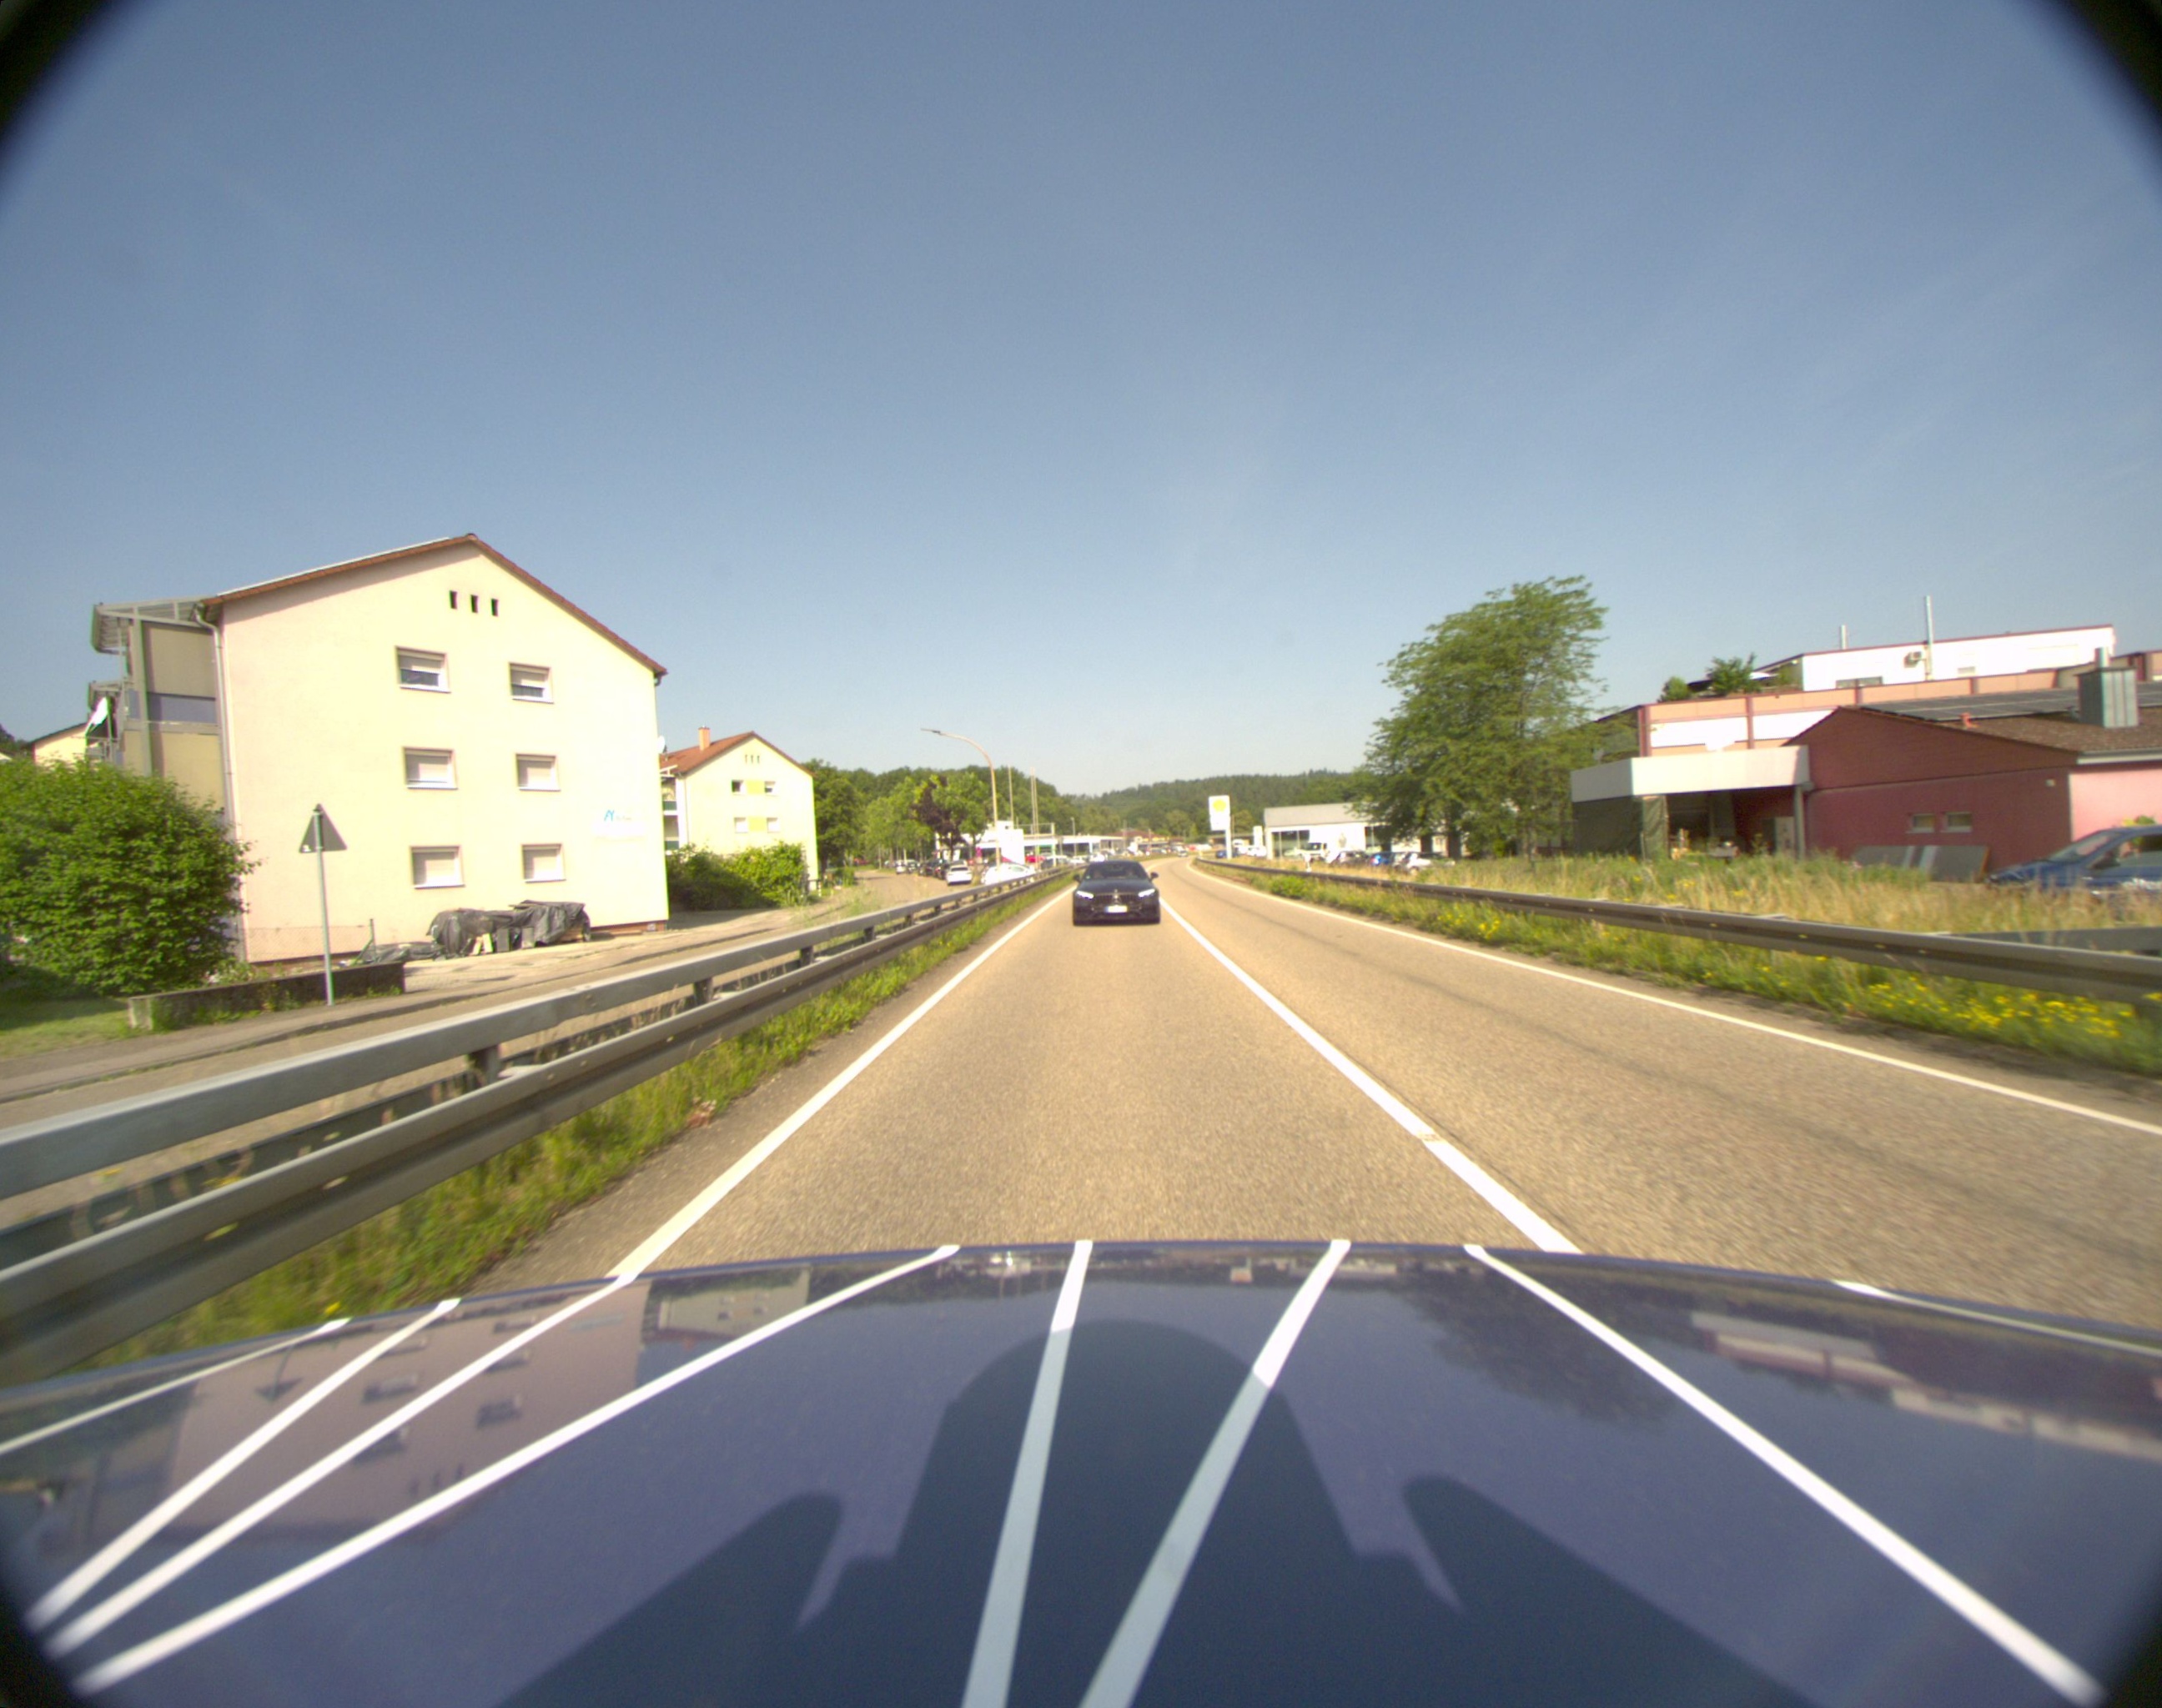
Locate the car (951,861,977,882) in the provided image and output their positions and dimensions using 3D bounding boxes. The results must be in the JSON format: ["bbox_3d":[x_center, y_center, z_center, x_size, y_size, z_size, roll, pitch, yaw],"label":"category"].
[{"bbox_3d":[-8.694,1.290,56.370,1.789,1.411,4.435,-2,0,-9],"label":"car"}]

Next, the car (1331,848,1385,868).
[{"bbox_3d":[23.217,0.311,63.787,3.756,1.491,1.932,-3,1,3],"label":"car"}]

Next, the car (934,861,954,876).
[{"bbox_3d":[-13.671,1.417,75.739,1.657,1.359,3.657,-2,1,-14],"label":"car"}]

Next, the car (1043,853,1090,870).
[{"bbox_3d":[-1.508,0.756,78.077,4.324,1.630,2.142,-2,1,18],"label":"car"}]

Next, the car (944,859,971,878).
[{"bbox_3d":[-10.125,1.166,62.216,1.710,1.397,4.478,-2,1,-14],"label":"car"}]

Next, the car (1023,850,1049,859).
[{"bbox_3d":[-8.682,0.058,146.727,4.742,1.556,1.933,-1,2,16],"label":"car"}]

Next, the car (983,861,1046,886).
[{"bbox_3d":[-4.485,1.290,51.180,4.071,1.444,1.727,-2,1,-10],"label":"car"}]

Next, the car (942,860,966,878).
[{"bbox_3d":[-11.273,1.309,67.127,1.710,1.397,3.657,-2,1,-14],"label":"car"}]

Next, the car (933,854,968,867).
[{"bbox_3d":[-17.931,0.888,104.290,4.499,1.591,1.839,-2,1,-14],"label":"car"}]

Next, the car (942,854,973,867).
[{"bbox_3d":[-16.351,0.879,100.620,3.768,1.513,1.655,-2,1,-16],"label":"car"}]

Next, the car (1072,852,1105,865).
[{"bbox_3d":[0.956,0.561,96.252,3.853,1.559,1.808,-2,1,10],"label":"car"}]

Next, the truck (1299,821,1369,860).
[{"bbox_3d":[26.085,-1.430,78.088,8.226,3.536,2.799,-3,1,-40],"label":"truck"}]

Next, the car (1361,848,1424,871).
[{"bbox_3d":[22.535,0.383,55.031,3.755,1.491,1.932,-3,1,5],"label":"car"}]

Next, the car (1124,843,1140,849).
[{"bbox_3d":[15.371,-2.422,228.093,4.315,1.914,1.793,-1,2,19],"label":"car"}]

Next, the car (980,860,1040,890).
[{"bbox_3d":[-4.079,1.182,43.518,3.273,1.369,1.548,-5,2,-6],"label":"car"}]

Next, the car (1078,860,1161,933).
[{"bbox_3d":[0.825,0.907,18.064,1.716,1.382,4.146,-1,1,0],"label":"car"}]

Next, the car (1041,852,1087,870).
[{"bbox_3d":[-1.675,0.709,74.912,4.157,1.474,1.883,-4,1,12],"label":"car"}]

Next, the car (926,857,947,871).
[{"bbox_3d":[-16.007,1.083,83.850,1.915,1.397,4.518,-2,1,-14],"label":"car"}]

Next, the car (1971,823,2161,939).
[{"bbox_3d":[19.900,0.443,13.573,4.892,2.002,2.004,-2,1,39],"label":"car"}]

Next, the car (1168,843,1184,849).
[{"bbox_3d":[26.161,-2.179,209.951,4.043,1.499,1.808,-1,2,21],"label":"car"}]

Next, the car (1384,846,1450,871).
[{"bbox_3d":[22.958,0.305,52.024,3.753,1.491,1.859,-3,1,12],"label":"car"}]

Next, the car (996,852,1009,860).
[{"bbox_3d":[-16.703,0.495,161.977,2.002,1.537,4.609,-1,1,1],"label":"car"}]

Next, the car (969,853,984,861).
[{"bbox_3d":[-22.336,0.678,162.678,2.000,1.537,4.613,-1,1,10],"label":"car"}]

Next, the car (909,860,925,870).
[{"bbox_3d":[-22.025,1.506,102.055,1.595,1.179,3.656,-2,1,-18],"label":"car"}]

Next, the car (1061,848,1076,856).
[{"bbox_3d":[-2.731,-0.486,164.324,1.933,1.556,4.743,-2,1,-18],"label":"car"}]

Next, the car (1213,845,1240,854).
[{"bbox_3d":[25.202,-0.741,131.193,4.238,1.498,1.981,-2,1,-27],"label":"car"}]

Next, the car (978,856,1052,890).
[{"bbox_3d":[-4.061,1.162,46.605,4.246,1.563,1.917,-6,2,-7],"label":"car"}]

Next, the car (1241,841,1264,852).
[{"bbox_3d":[35.706,-1.574,158.129,4.678,1.847,2.145,-4,0,12],"label":"car"}]

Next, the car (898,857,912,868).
[{"bbox_3d":[-24.837,1.207,107.176,1.788,1.466,3.983,-2,1,-14],"label":"car"}]

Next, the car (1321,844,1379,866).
[{"bbox_3d":[23.501,0.047,66.564,4.360,1.645,1.932,-3,1,3],"label":"car"}]

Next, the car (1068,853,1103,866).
[{"bbox_3d":[0.553,0.658,93.628,3.994,1.513,1.699,-2,1,10],"label":"car"}]

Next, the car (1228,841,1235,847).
[{"bbox_3d":[45.634,-3.084,229.762,1.917,1.874,4.915,-1,1,13],"label":"car"}]

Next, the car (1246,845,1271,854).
[{"bbox_3d":[33.220,-0.905,142.006,4.236,1.395,1.894,-4,1,-27],"label":"car"}]

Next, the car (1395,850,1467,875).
[{"bbox_3d":[22.443,0.516,48.838,3.755,1.452,1.862,-2,1,5],"label":"car"}]

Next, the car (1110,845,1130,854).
[{"bbox_3d":[8.263,-0.984,161.128,4.083,1.600,1.794,-2,1,12],"label":"car"}]

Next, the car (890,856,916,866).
[{"bbox_3d":[-33.064,1.258,141.177,4.753,1.625,1.929,-2,2,-13],"label":"car"}]

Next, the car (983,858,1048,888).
[{"bbox_3d":[-4.183,1.179,48.786,3.998,1.441,1.764,-6,2,-4],"label":"car"}]

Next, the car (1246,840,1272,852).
[{"bbox_3d":[34.452,-1.552,147.233,4.800,1.970,2.231,-4,0,12],"label":"car"}]
